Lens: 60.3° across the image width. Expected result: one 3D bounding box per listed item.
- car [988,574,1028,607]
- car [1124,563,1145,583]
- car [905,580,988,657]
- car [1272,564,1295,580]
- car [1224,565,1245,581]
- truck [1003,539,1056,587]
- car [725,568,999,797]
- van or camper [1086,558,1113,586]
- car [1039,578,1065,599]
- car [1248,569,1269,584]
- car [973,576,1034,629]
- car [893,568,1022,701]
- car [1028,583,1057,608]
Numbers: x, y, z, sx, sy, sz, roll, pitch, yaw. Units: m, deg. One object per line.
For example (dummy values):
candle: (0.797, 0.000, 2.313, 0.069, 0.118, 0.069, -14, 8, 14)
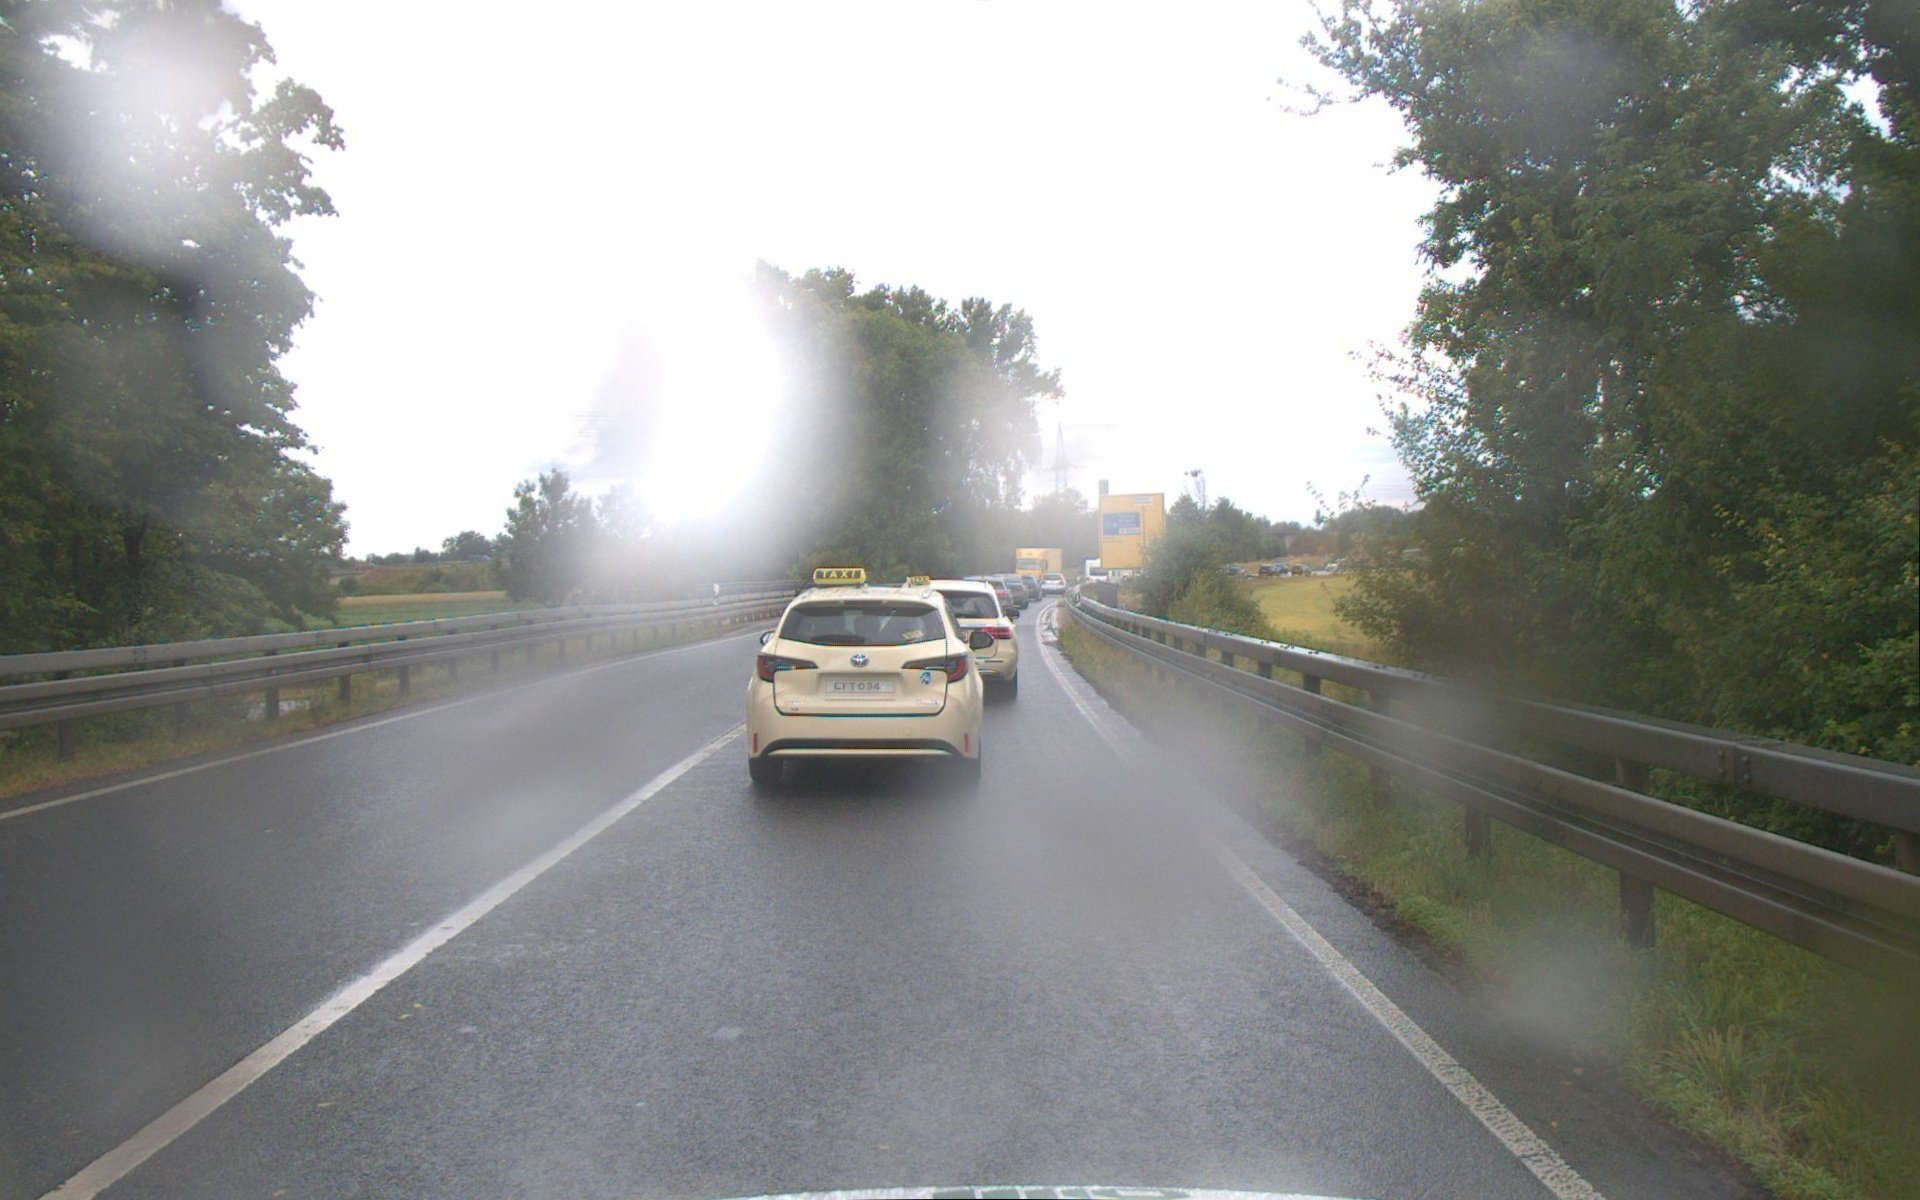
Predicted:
car: (2.168, -0.396, 73.485, 1.625, 1.434, 3.906, 0, 0, 4)
car: (16.541, -2.537, 156.444, 1.695, 1.851, 4.003, 1, 0, 10)
car: (-0.234, 0.341, 33.571, 1.474, 1.462, 3.357, 1, 1, 3)
car: (44.356, -3.819, 226.822, 1.957, 2.049, 3.992, 1, 0, 31)
car: (34.029, -3.312, 205.178, 1.880, 1.870, 4.001, 1, 0, 19)
truck: (5.615, -3.011, 131.948, 2.712, 3.488, 9.198, 2, 3, 11)
car: (-0.678, 0.544, 13.412, 1.867, 1.564, 4.161, 0, 1, 0)
van or camper: (11.557, -2.301, 136.812, 1.951, 2.293, 4.003, 1, 0, 9)
car: (6.043, -0.737, 108.374, 1.451, 1.332, 3.480, 0, 1, 8)
car: (39.449, -3.115, 218.807, 1.782, 1.870, 3.986, 1, 0, 25)
car: (1.229, 0.051, 48.108, 1.631, 1.489, 3.476, 0, 1, -1)
car: (-0.010, 0.399, 21.765, 1.546, 1.600, 3.681, 0, 1, 1)
car: (4.565, -0.280, 91.260, 1.451, 1.332, 3.479, 0, 1, 5)
